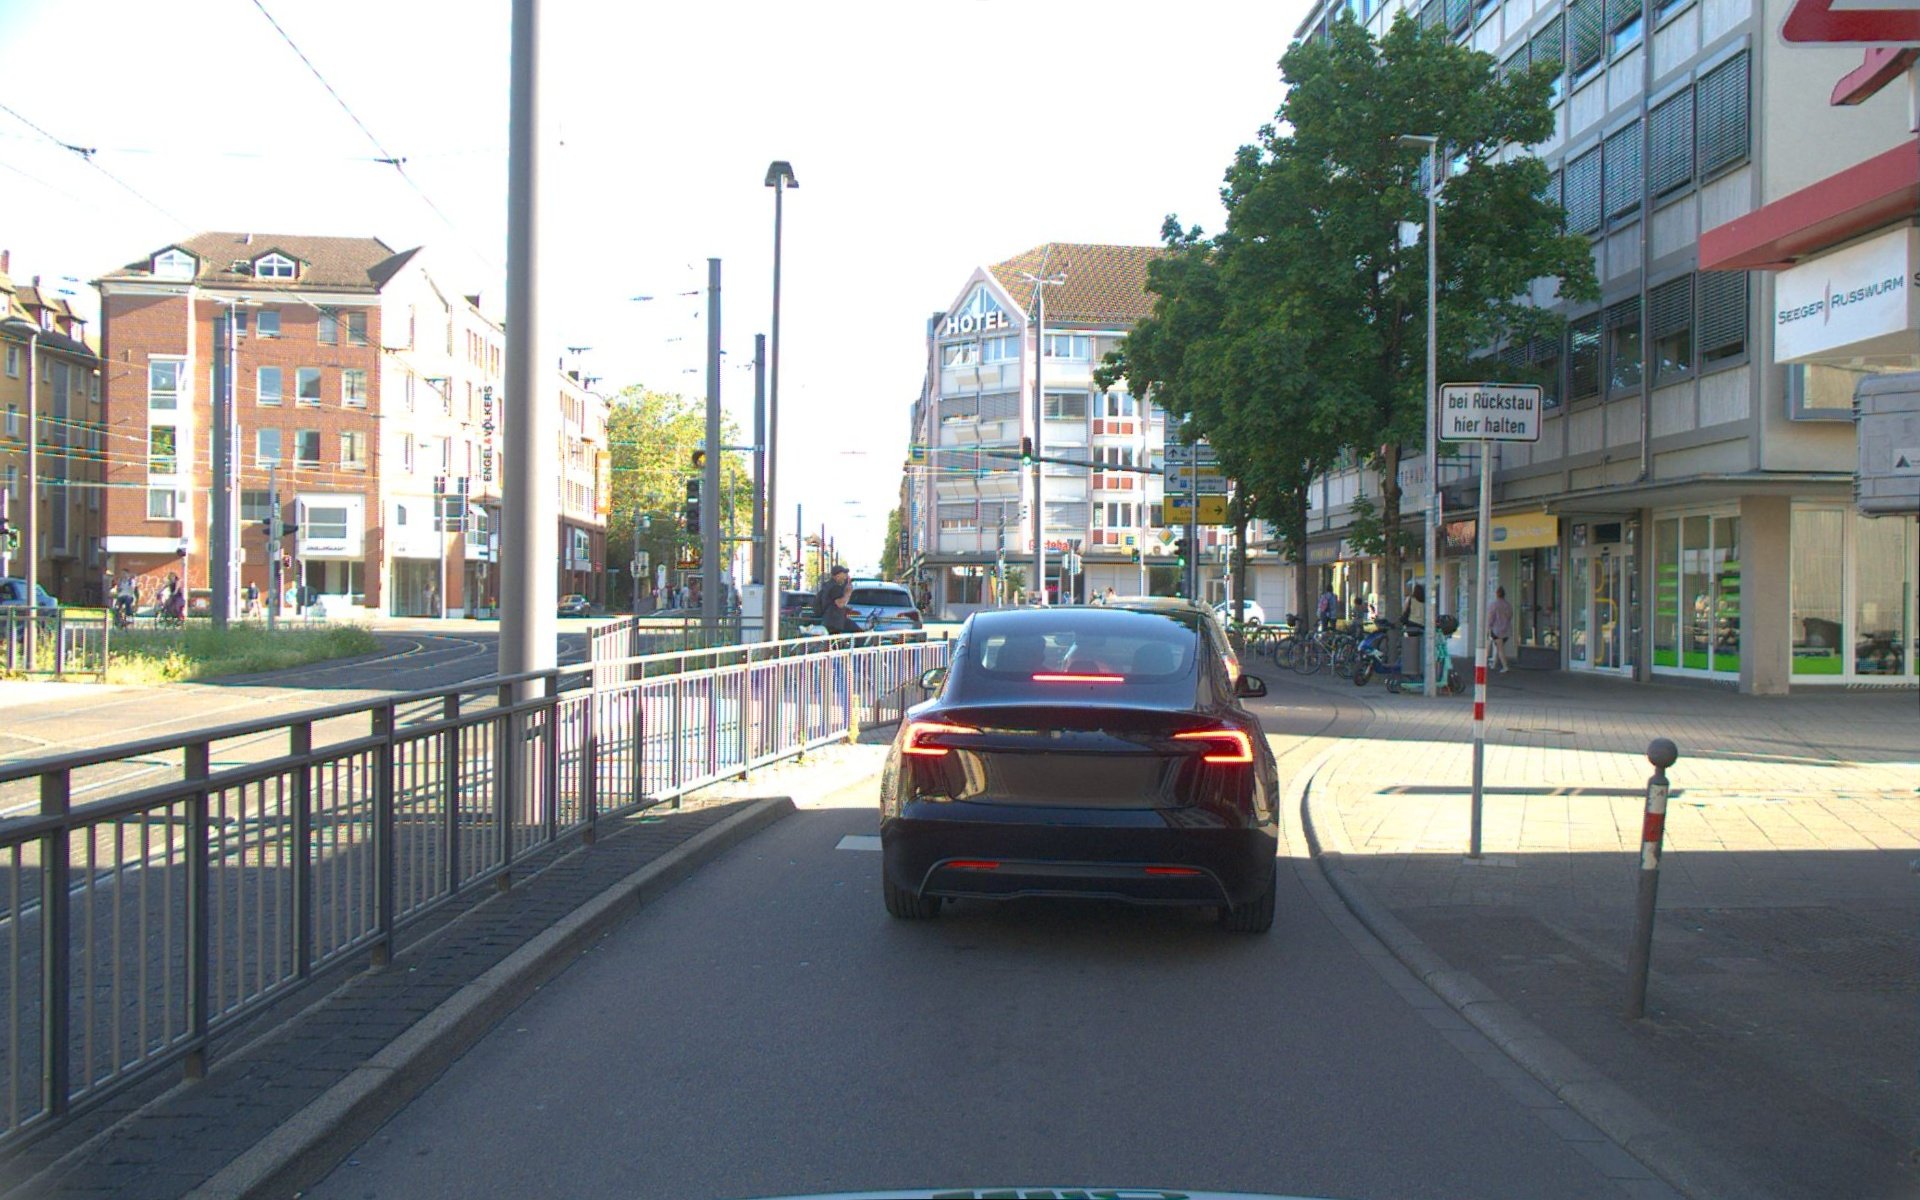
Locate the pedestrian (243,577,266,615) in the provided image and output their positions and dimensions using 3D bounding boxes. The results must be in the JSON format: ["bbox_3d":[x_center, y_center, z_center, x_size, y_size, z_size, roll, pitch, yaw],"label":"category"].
[{"bbox_3d":[-32.405,-0.179,75.950,0.682,1.740,0.929,1,-1,-7],"label":"pedestrian"}]

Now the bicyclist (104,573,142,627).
[{"bbox_3d":[-23.540,0.007,46.519,0.650,1.479,0.730,1,-1,0],"label":"bicyclist"}]

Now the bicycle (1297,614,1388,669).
[{"bbox_3d":[7.726,0.832,33.447,1.730,1.075,0.458,1,-1,4],"label":"bicycle"}]

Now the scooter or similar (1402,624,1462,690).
[{"bbox_3d":[7.707,0.927,27.012,0.943,1.061,0.160,0,0,2],"label":"scooter or similar"}]

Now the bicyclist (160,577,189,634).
[{"bbox_3d":[-23.493,0.164,49.491,0.578,1.678,0.804,1,-1,-12],"label":"bicyclist"}]

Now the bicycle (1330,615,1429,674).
[{"bbox_3d":[7.979,0.845,31.448,1.817,1.074,0.398,-1,0,-12],"label":"bicycle"}]

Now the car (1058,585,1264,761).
[{"bbox_3d":[1.874,0.606,16.416,1.727,1.469,4.531,1,0,4],"label":"car"}]

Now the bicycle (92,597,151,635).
[{"bbox_3d":[-23.552,0.446,46.486,0.636,1.031,1.885,1,0,1],"label":"bicycle"}]

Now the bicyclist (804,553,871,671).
[{"bbox_3d":[-1.648,0.156,22.186,0.674,1.550,0.628,1,-1,-32],"label":"bicyclist"}]

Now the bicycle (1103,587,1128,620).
[{"bbox_3d":[7.070,0.167,75.305,0.573,1.489,1.679,0,0,-16],"label":"bicycle"}]

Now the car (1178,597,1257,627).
[{"bbox_3d":[13.484,0.640,86.671,3.766,1.457,1.801,1,-2,-6],"label":"car"}]

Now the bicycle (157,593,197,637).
[{"bbox_3d":[-23.537,0.443,49.735,0.563,1.313,2.021,1,0,-11],"label":"bicycle"}]

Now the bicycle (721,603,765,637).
[{"bbox_3d":[-8.415,0.771,64.145,0.624,1.245,2.008,1,-1,-44],"label":"bicycle"}]

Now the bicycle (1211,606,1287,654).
[{"bbox_3d":[7.425,0.767,42.481,1.851,1.177,0.480,-1,-1,0],"label":"bicycle"}]

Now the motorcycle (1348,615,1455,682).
[{"bbox_3d":[7.822,0.859,29.342,1.751,1.149,0.504,1,-1,-3],"label":"motorcycle"}]

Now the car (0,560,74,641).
[{"bbox_3d":[-19.717,-0.004,33.193,1.650,1.588,4.121,1,0,-1],"label":"car"}]

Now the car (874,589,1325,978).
[{"bbox_3d":[0.643,0.707,8.505,1.753,1.476,3.941,1,1,3],"label":"car"}]

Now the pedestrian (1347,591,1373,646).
[{"bbox_3d":[10.729,0.497,44.394,0.631,1.447,0.621,1,-1,10],"label":"pedestrian"}]

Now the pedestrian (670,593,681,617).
[{"bbox_3d":[-18.731,0.334,108.838,0.574,1.557,0.634,1,-1,-18],"label":"pedestrian"}]

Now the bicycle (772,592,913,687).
[{"bbox_3d":[-1.571,0.524,22.231,1.802,1.233,0.635,1,-1,-32],"label":"bicycle"}]

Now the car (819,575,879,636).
[{"bbox_3d":[-3.186,0.158,47.008,1.542,1.646,3.778,1,0,-6],"label":"car"}]

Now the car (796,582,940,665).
[{"bbox_3d":[-1.998,0.473,35.126,1.818,1.663,3.455,1,0,-27],"label":"car"}]

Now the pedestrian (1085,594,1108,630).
[{"bbox_3d":[6.196,0.537,74.943,0.766,1.604,0.864,1,1,-16],"label":"pedestrian"}]

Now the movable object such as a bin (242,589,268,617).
[{"bbox_3d":[-36.968,0.147,86.732,0.978,1.462,1.093,1,0,-10],"label":"movable object such as a bin"}]

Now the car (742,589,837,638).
[{"bbox_3d":[-5.701,0.440,55.084,1.710,1.578,3.432,1,0,-35],"label":"car"}]

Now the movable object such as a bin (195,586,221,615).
[{"bbox_3d":[-39.274,0.034,86.398,0.978,1.462,1.093,1,0,-10],"label":"movable object such as a bin"}]

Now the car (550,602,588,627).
[{"bbox_3d":[-24.465,0.889,103.659,1.782,1.479,3.972,-1,0,-6],"label":"car"}]

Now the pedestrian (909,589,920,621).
[{"bbox_3d":[-2.592,0.268,94.862,0.614,1.813,0.917,1,-1,-2],"label":"pedestrian"}]

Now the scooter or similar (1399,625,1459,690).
[{"bbox_3d":[7.712,0.940,27.211,0.936,1.057,0.160,0,0,2],"label":"scooter or similar"}]

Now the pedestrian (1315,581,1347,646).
[{"bbox_3d":[10.048,0.365,44.829,0.825,1.751,0.880,1,-1,12],"label":"pedestrian"}]

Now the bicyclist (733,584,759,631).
[{"bbox_3d":[-8.300,0.308,64.040,0.609,1.803,0.817,1,-1,-43],"label":"bicyclist"}]

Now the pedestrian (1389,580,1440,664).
[{"bbox_3d":[9.637,0.462,35.101,0.826,1.737,0.880,1,-1,-1],"label":"pedestrian"}]

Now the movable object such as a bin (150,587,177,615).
[{"bbox_3d":[-41.515,0.049,86.195,0.978,1.462,1.093,1,0,-10],"label":"movable object such as a bin"}]

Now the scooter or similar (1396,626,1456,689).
[{"bbox_3d":[7.717,0.951,27.411,0.943,1.045,0.160,0,0,2],"label":"scooter or similar"}]

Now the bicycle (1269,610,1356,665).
[{"bbox_3d":[7.551,0.793,35.480,1.774,1.172,0.435,0,0,-5],"label":"bicycle"}]

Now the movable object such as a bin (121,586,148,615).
[{"bbox_3d":[-42.850,0.021,85.873,0.978,1.462,1.093,1,0,-10],"label":"movable object such as a bin"}]

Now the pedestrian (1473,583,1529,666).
[{"bbox_3d":[10.923,0.494,33.424,0.826,1.630,0.880,1,-1,-1],"label":"pedestrian"}]
